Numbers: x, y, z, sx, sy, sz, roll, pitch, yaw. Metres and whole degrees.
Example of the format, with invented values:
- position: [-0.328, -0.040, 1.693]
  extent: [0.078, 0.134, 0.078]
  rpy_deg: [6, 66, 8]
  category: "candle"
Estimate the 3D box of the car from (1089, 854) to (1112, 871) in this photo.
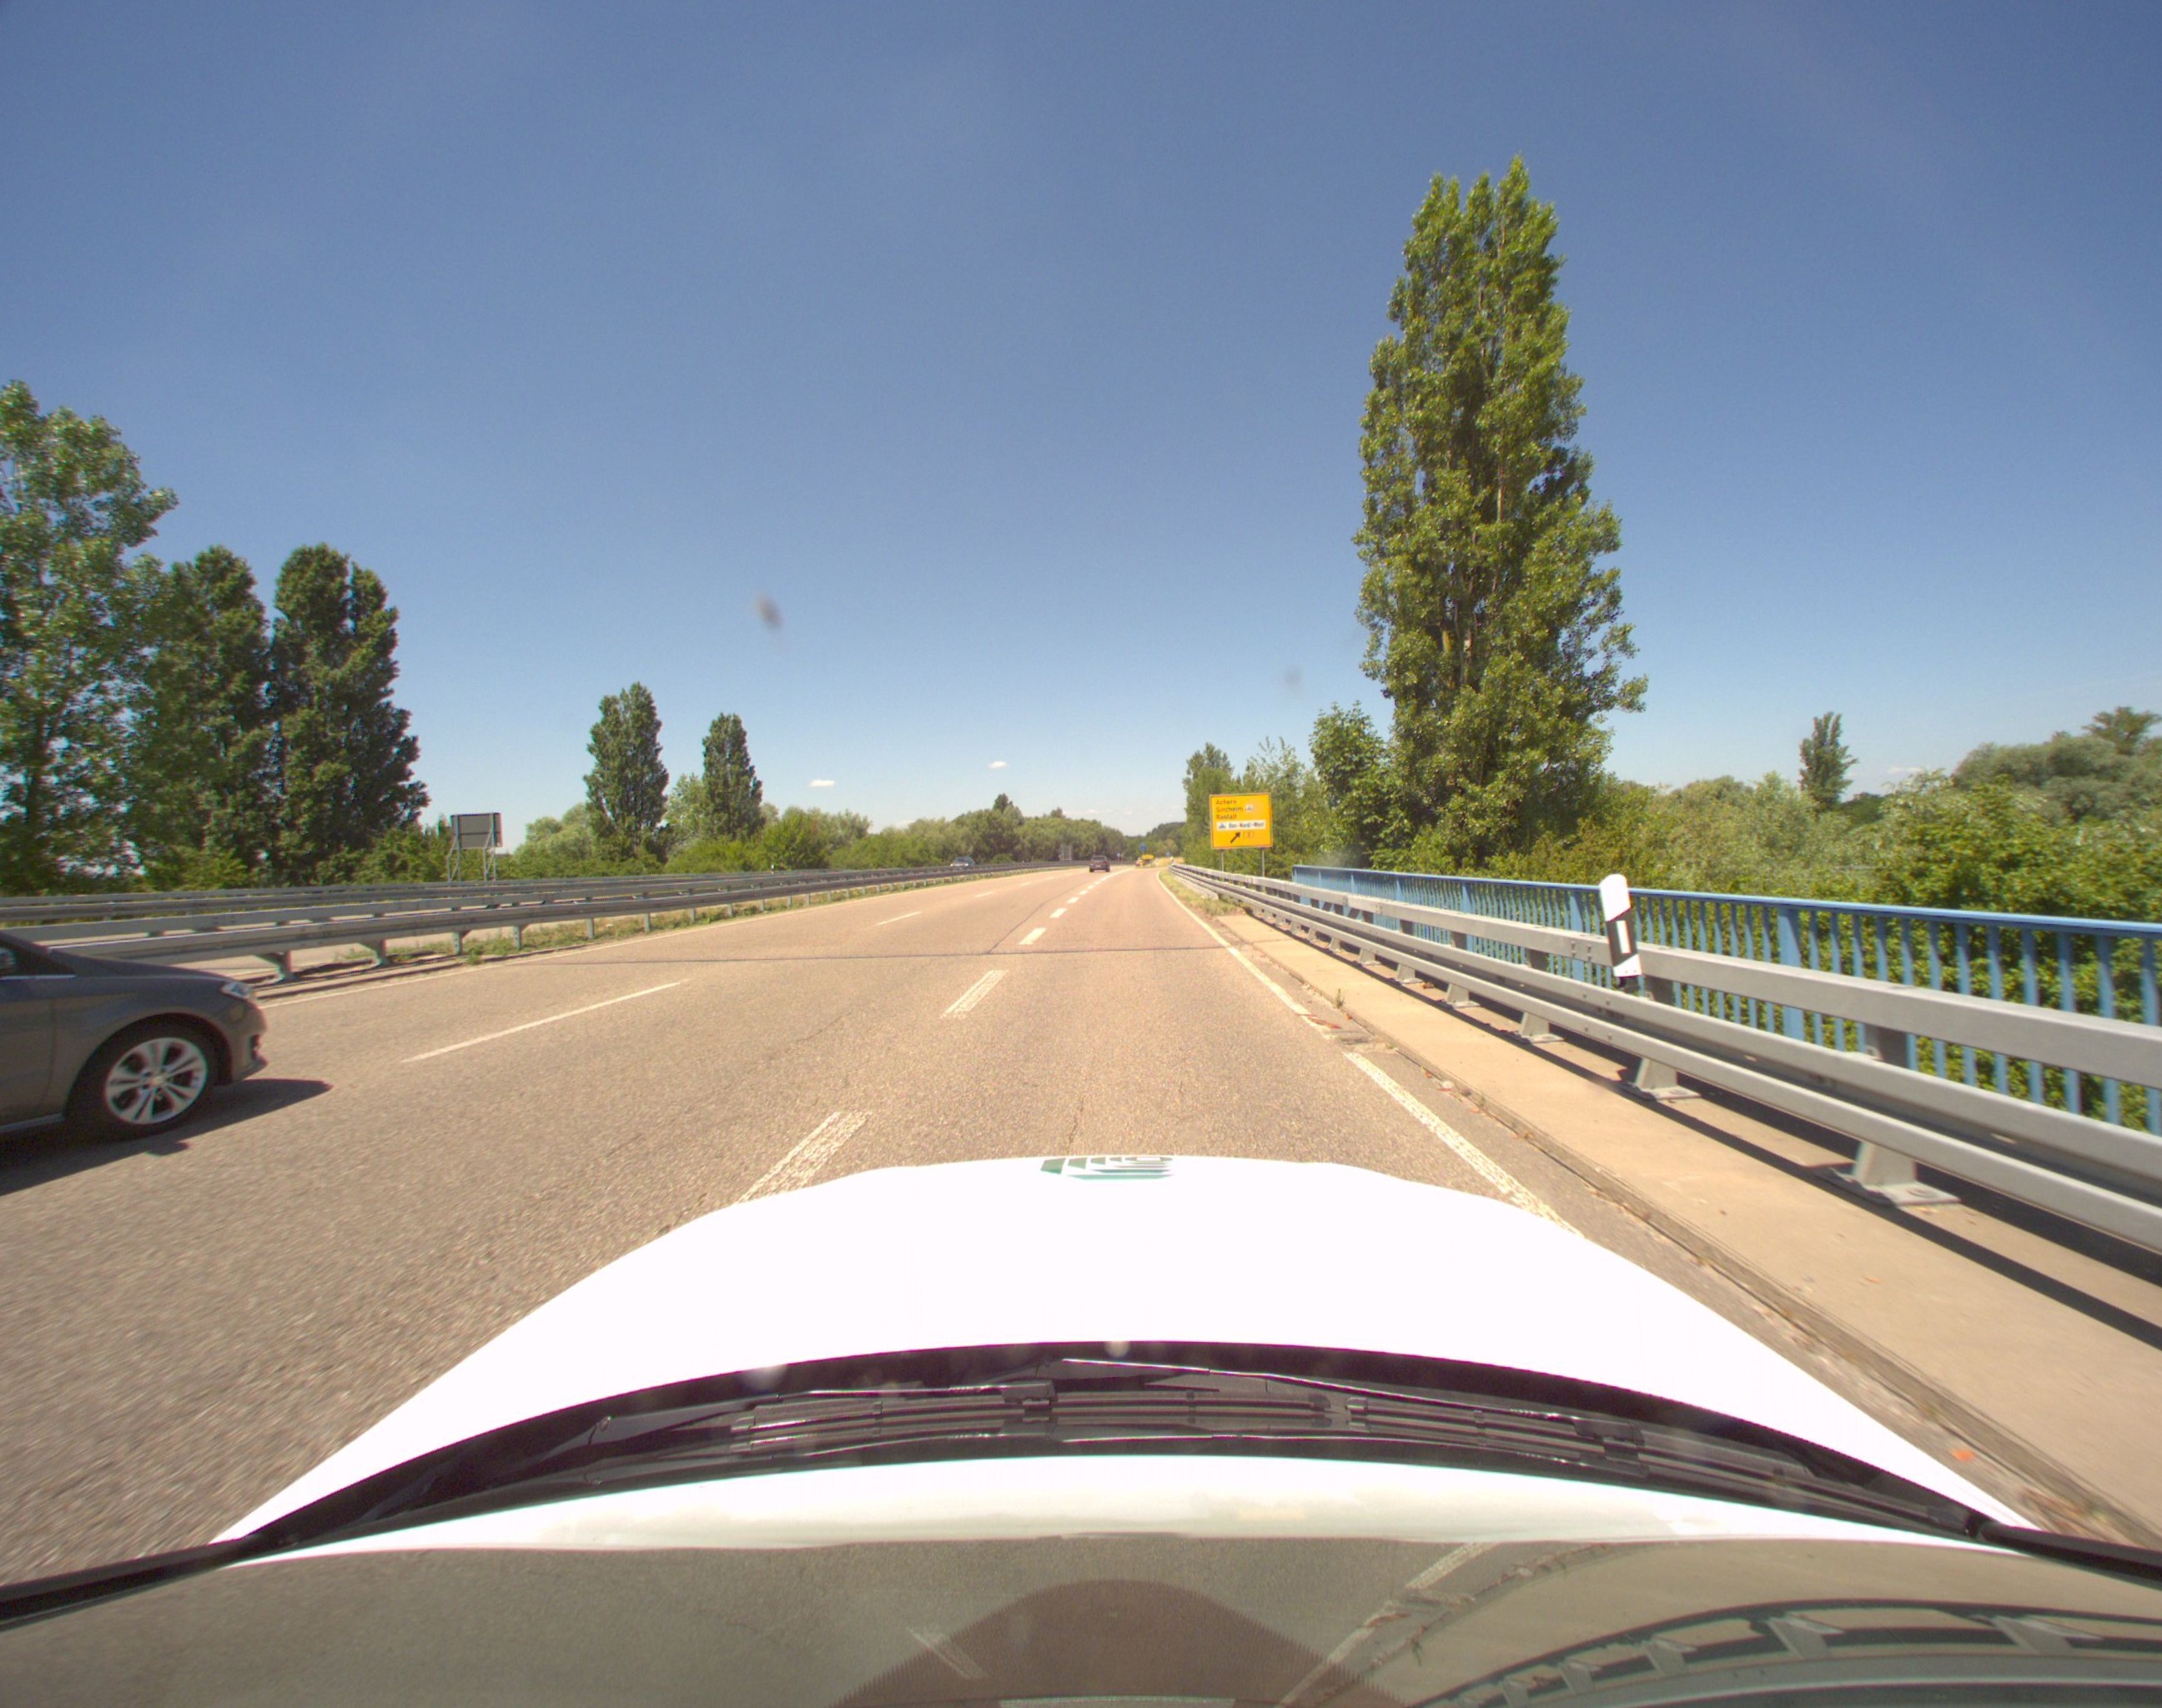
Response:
- position: [1.955, 0.820, 78.853]
  extent: [1.832, 1.529, 4.478]
  rpy_deg: [0, 1, 6]
  category: "car"

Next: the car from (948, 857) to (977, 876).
- position: [-11.106, 1.133, 76.512]
  extent: [1.817, 1.647, 4.193]
  rpy_deg: [-2, -1, 4]
  category: "car"

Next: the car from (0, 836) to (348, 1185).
- position: [-6.098, 0.768, 3.388]
  extent: [1.785, 1.667, 4.558]
  rpy_deg: [-1, 0, 3]
  category: "car"

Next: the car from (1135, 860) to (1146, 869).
- position: [10.964, 1.950, 149.450]
  extent: [1.832, 1.464, 4.008]
  rpy_deg: [0, 1, 6]
  category: "car"
